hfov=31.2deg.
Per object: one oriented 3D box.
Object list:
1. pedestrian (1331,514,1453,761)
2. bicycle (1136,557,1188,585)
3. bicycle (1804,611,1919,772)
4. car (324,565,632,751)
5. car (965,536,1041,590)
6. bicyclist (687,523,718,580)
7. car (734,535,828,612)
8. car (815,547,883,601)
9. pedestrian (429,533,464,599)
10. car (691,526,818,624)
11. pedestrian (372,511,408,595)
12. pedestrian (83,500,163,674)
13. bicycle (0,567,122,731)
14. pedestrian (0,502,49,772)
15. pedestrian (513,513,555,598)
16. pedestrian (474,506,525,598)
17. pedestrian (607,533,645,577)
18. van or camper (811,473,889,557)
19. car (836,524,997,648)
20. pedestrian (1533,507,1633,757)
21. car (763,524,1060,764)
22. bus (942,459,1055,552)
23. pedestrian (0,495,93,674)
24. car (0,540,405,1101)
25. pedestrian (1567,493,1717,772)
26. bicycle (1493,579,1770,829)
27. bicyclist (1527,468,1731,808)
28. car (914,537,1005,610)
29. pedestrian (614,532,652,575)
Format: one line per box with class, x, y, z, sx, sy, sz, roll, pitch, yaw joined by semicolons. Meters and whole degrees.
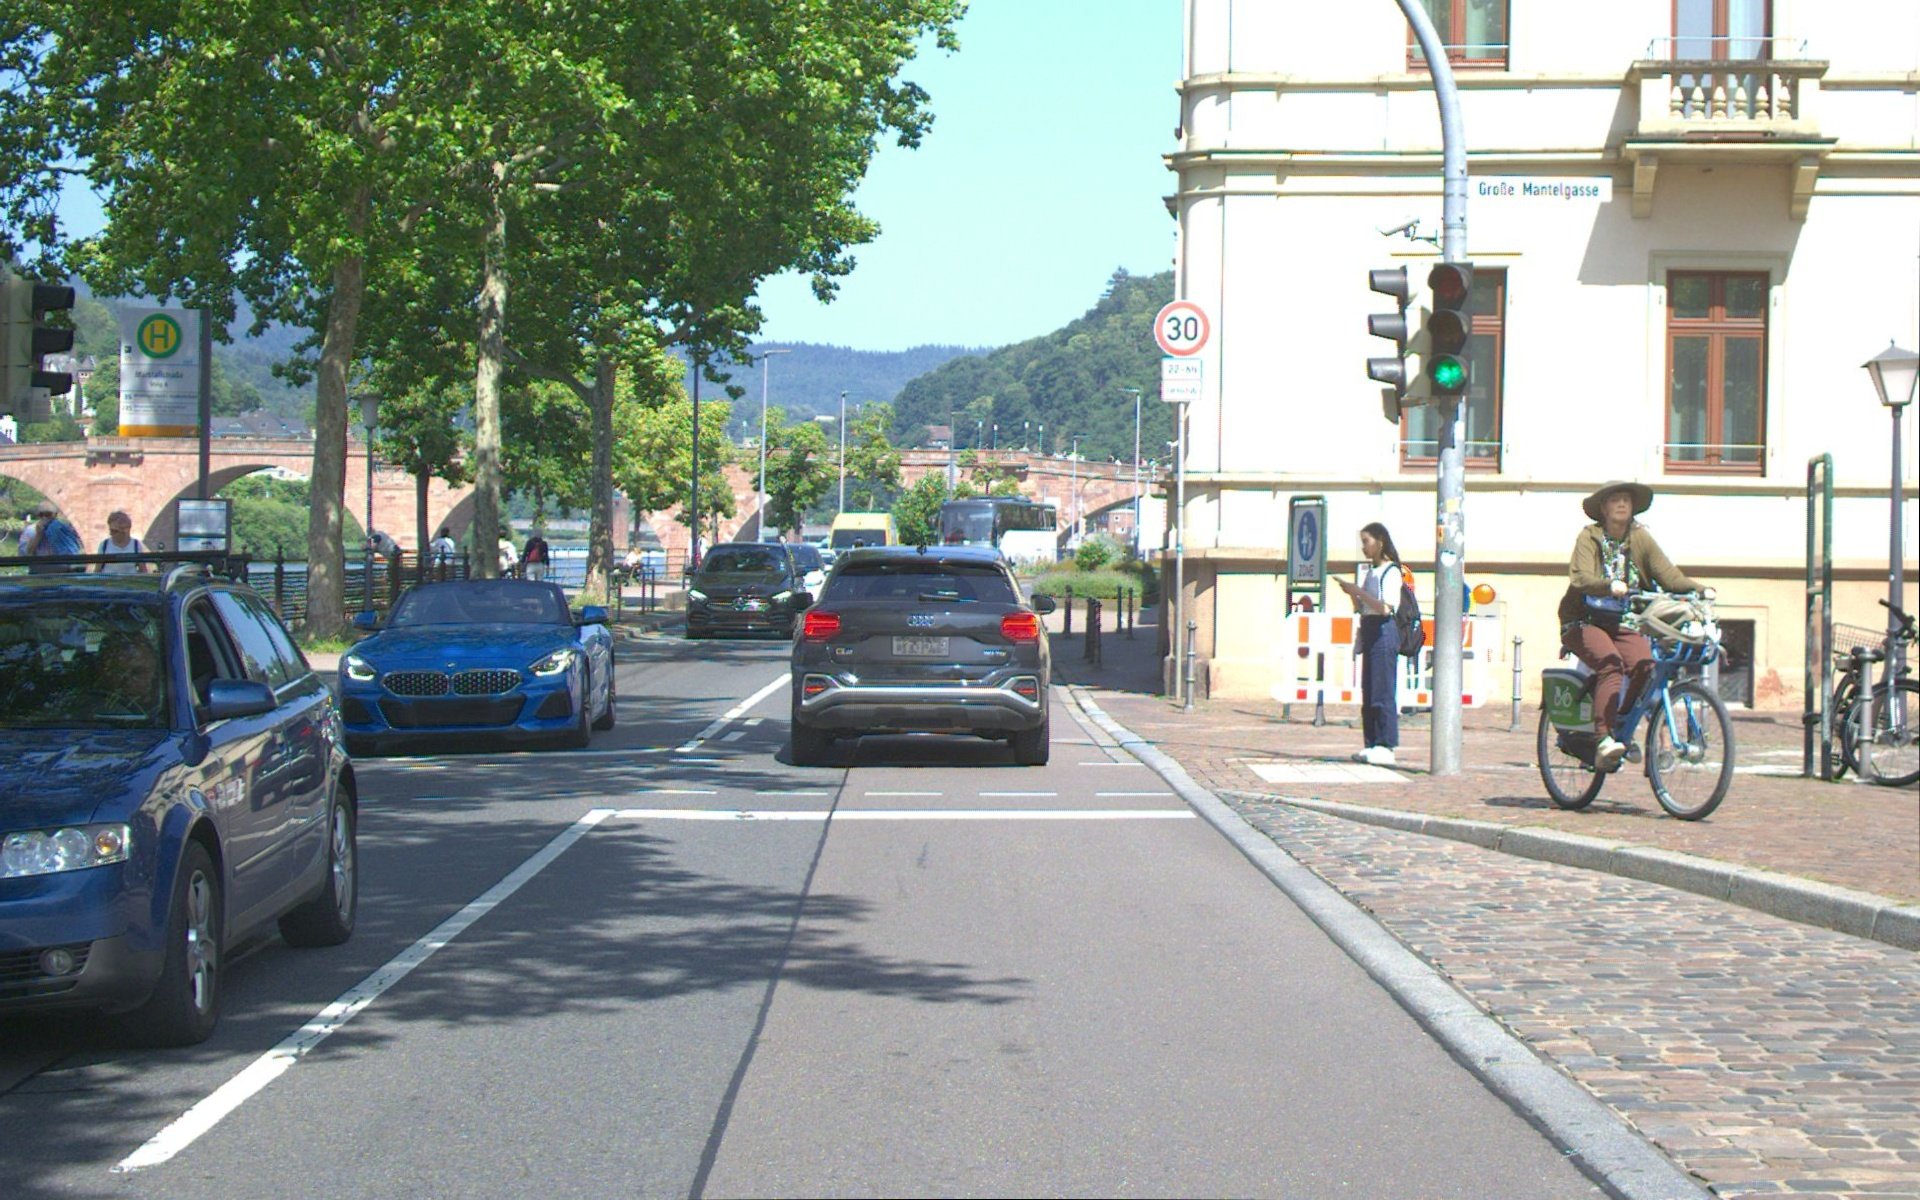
pedestrian;2.974;0.251;23.730;0.715;1.670;0.682;1;1;-1
bicycle;7.215;-1.030;122.899;1.810;0.875;0.502;3;2;4
bicycle;5.954;0.608;22.452;0.508;1.000;1.580;2;-2;2
car;-3.674;0.395;26.897;1.840;1.265;4.262;-2;1;-1
car;1.294;-1.119;102.194;1.927;1.548;4.831;0;1;5
bicyclist;-7.259;-1.376;96.912;0.719;1.578;1.089;1;1;2
car;-3.671;-0.520;69.877;1.735;1.513;4.405;0;0;-5
car;-3.045;-0.727;94.968;1.701;1.453;4.002;1;1;0
pedestrian;-12.811;-0.846;85.773;0.694;1.610;0.663;1;1;8
car;-3.330;-0.418;56.384;1.701;1.513;4.405;-1;1;1
pedestrian;-13.444;-1.111;81.102;0.693;1.938;0.887;1;1;-1
pedestrian;-7.933;-0.125;32.602;0.493;1.612;0.991;1;1;-1
bicycle;-6.359;0.279;22.430;1.829;0.922;0.741;8;4;40
pedestrian;-6.672;0.231;22.750;1.024;1.767;0.767;2;1;40
pedestrian;-8.615;-0.903;69.539;0.656;1.676;0.758;4;1;-1
pedestrian;-8.050;-0.834;60.124;0.761;1.581;0.696;1;1;-1
pedestrian;-10.005;-1.345;102.900;0.937;1.276;0.849;1;1;9
van or camper;-3.456;-2.672;109.522;2.087;2.548;7.092;2;1;1
car;-0.551;-0.221;44.119;1.926;1.456;4.832;1;1;0
pedestrian;4.316;0.214;23.853;0.526;1.706;0.665;1;1;-1
car;-0.352;0.246;25.105;1.926;1.548;4.832;1;1;-1
bus;1.732;-3.940;146.062;2.632;3.552;12.977;1;0;10
pedestrian;-9.188;-0.165;34.506;0.711;1.758;0.972;1;1;-1
car;-3.137;0.594;11.545;1.701;1.513;4.405;-2;1;1
pedestrian;4.601;0.211;23.203;0.616;1.845;0.730;1;1;-40
bicycle;3.261;0.478;16.894;0.688;1.125;2.010;1;1;-8
bicyclist;3.288;0.178;16.953;0.709;1.622;0.887;1;1;-7
car;-0.020;-0.613;75.364;1.926;1.548;4.832;0;1;0
pedestrian;-9.875;-1.408;103.769;0.937;1.276;0.849;1;1;9
